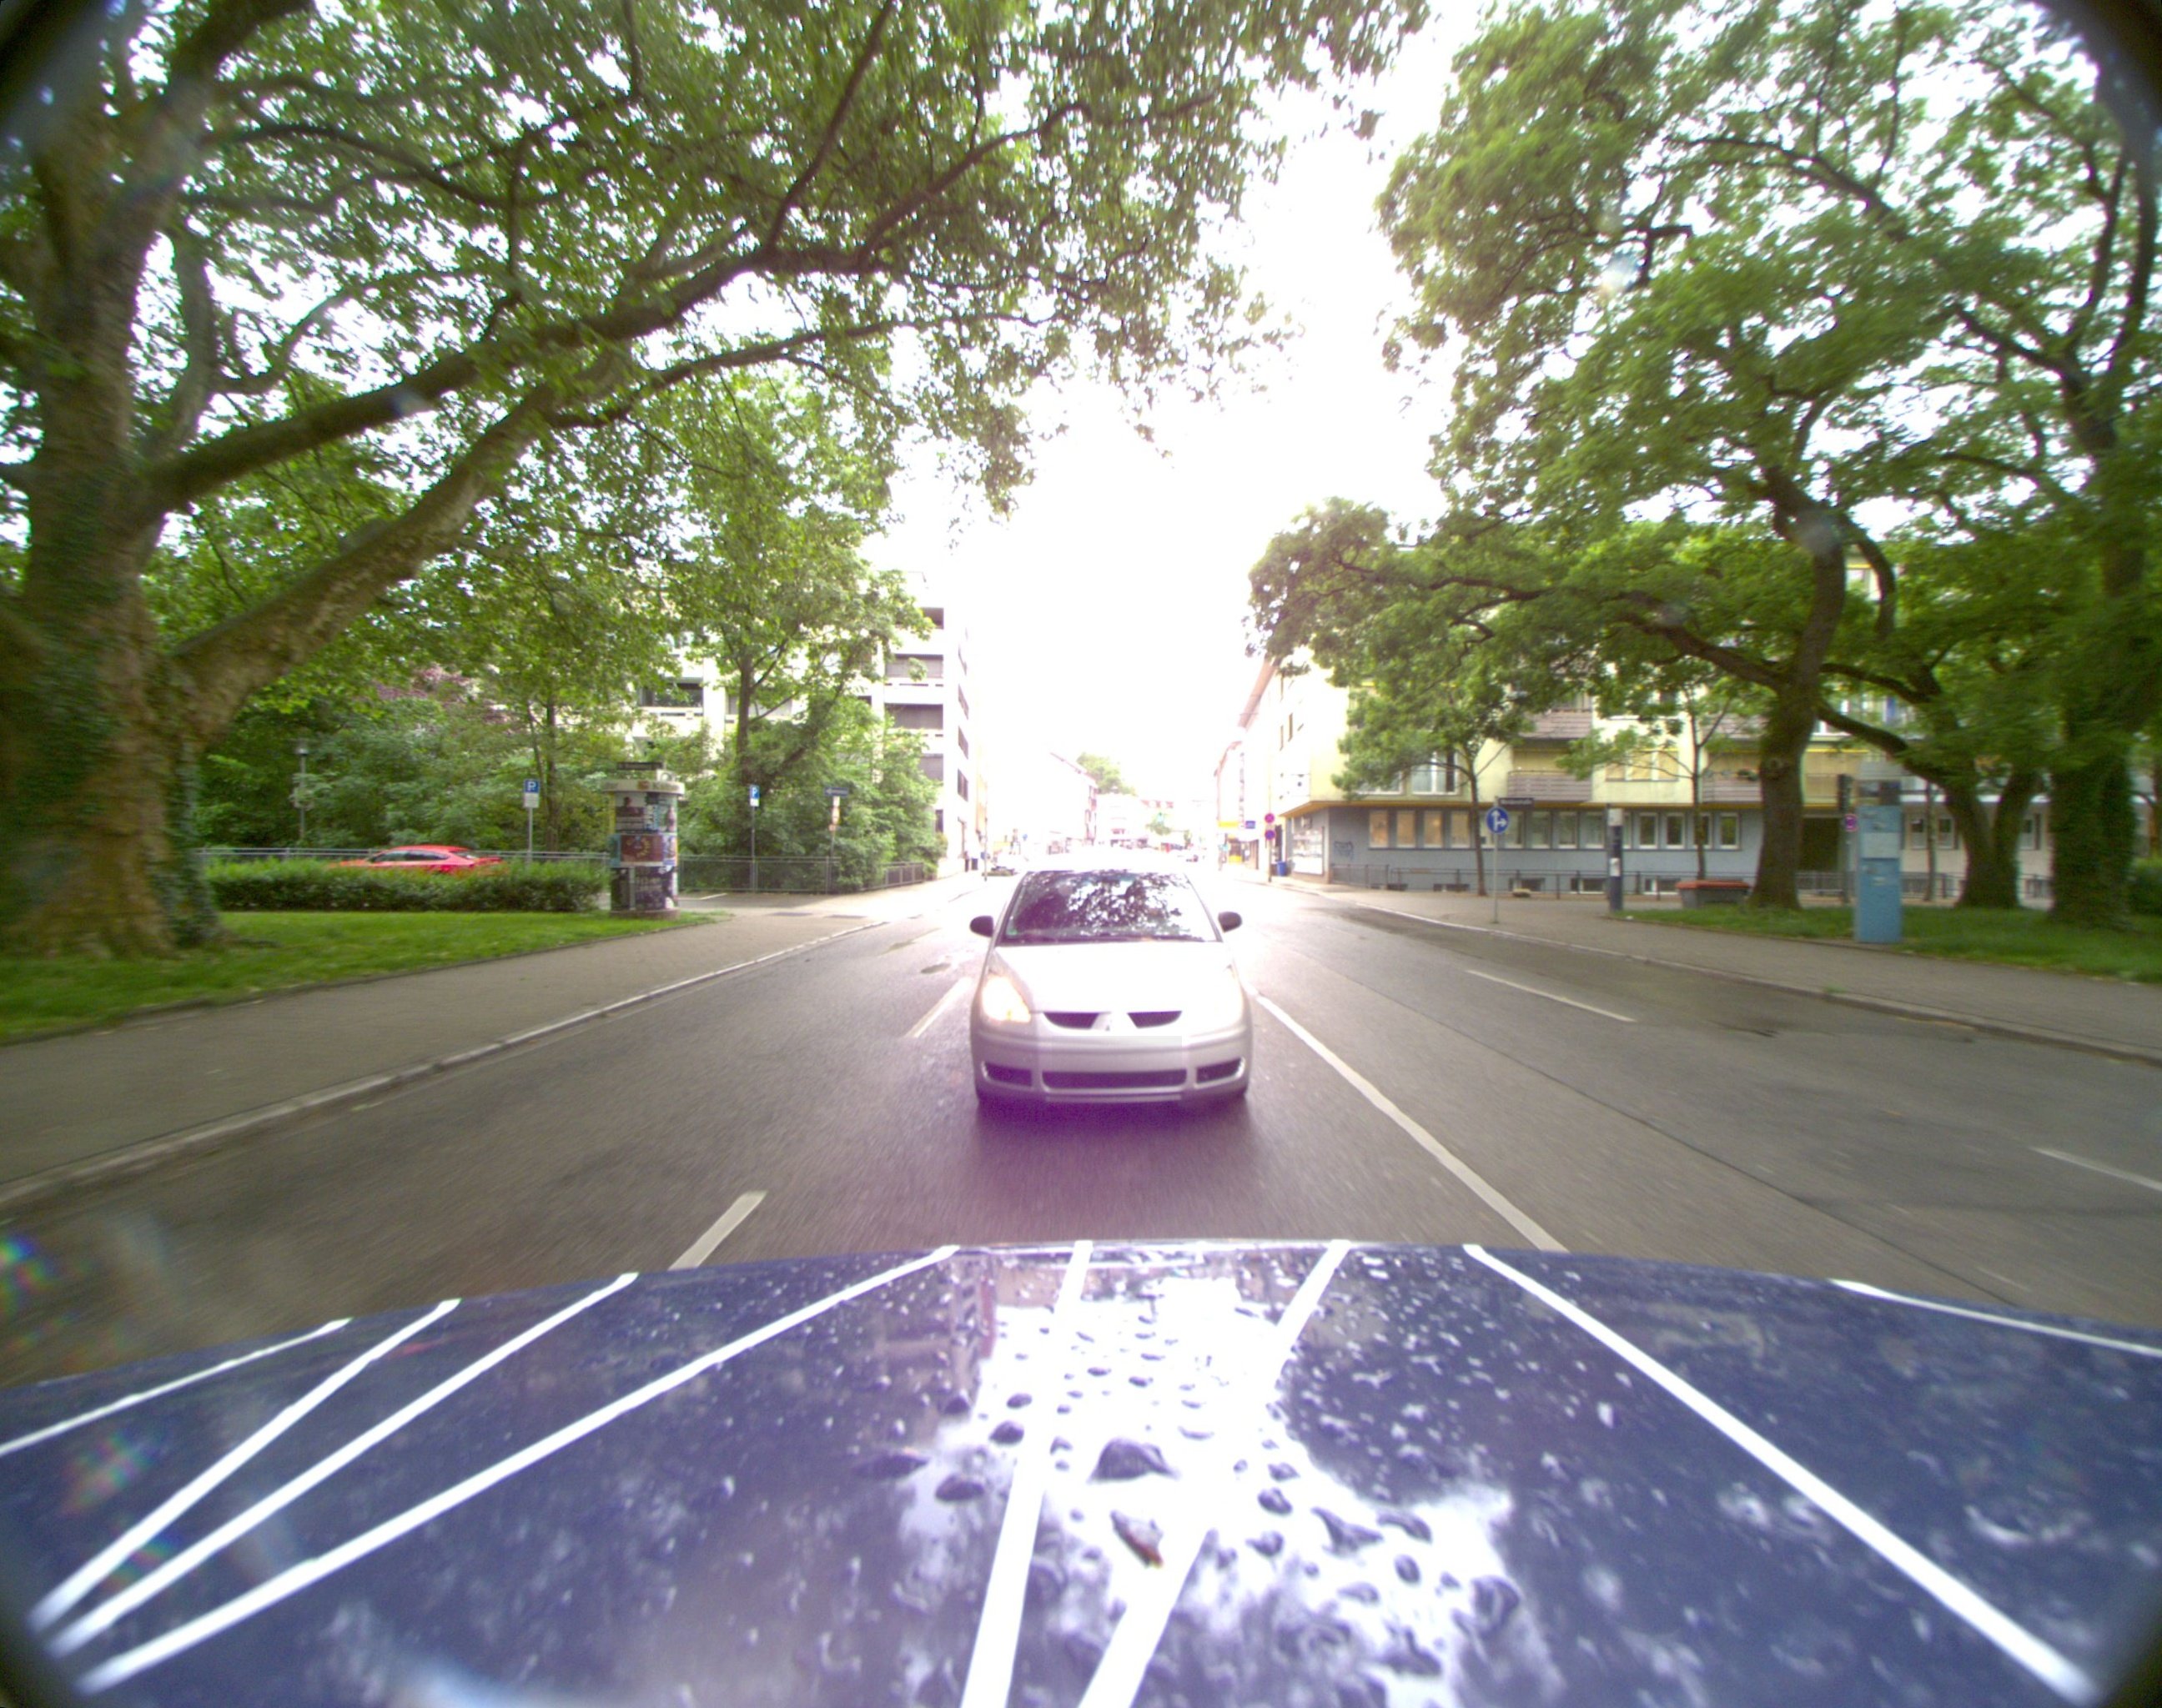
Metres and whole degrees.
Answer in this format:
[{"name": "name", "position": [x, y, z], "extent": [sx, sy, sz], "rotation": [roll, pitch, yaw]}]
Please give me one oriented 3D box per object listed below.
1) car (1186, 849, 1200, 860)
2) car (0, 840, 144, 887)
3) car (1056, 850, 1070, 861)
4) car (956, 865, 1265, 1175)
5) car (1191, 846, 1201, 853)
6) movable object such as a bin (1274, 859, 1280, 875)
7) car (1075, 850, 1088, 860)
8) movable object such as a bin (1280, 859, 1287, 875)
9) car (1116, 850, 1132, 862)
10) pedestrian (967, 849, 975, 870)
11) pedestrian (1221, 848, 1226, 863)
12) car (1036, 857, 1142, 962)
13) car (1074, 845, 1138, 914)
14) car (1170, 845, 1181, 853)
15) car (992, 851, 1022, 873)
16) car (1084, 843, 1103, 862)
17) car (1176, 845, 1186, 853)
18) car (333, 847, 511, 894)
[{"name": "car", "position": [18.007, 0.060, 122.296], "extent": [1.889, 1.707, 4.001], "rotation": [1, 0, 4]}, {"name": "car", "position": [-29.728, 0.254, 21.886], "extent": [3.468, 1.271, 1.448], "rotation": [1, 1, -5]}, {"name": "car", "position": [-2.497, 0.146, 105.251], "extent": [1.802, 1.434, 3.896], "rotation": [1, 0, 0]}, {"name": "car", "position": [0.179, 0.890, 5.574], "extent": [1.576, 1.514, 3.240], "rotation": [-1, 1, 1]}, {"name": "car", "position": [25.275, -0.958, 167.024], "extent": [1.867, 1.648, 4.001], "rotation": [1, 0, 4]}, {"name": "movable object such as a bin", "position": [12.705, 0.868, 49.338], "extent": [0.338, 1.023, 0.353], "rotation": [1, 1, 8]}, {"name": "car", "position": [0.079, 0.094, 110.437], "extent": [1.802, 1.434, 3.897], "rotation": [1, 0, 1]}, {"name": "movable object such as a bin", "position": [13.117, 0.848, 49.234], "extent": [0.415, 1.023, 0.353], "rotation": [1, 1, 8]}, {"name": "car", "position": [5.085, 0.224, 89.542], "extent": [1.701, 1.434, 3.897], "rotation": [1, 0, 1]}, {"name": "pedestrian", "position": [-8.028, 0.404, 55.517], "extent": [0.480, 1.521, 0.481], "rotation": [-2, 1, 1]}, {"name": "pedestrian", "position": [17.534, 0.204, 93.636], "extent": [0.594, 1.833, 0.565], "rotation": [1, 1, 8]}, {"name": "car", "position": [0.196, 0.846, 13.467], "extent": [1.590, 1.540, 3.771], "rotation": [1, 0, 2]}, {"name": "car", "position": [0.628, 0.629, 20.902], "extent": [1.584, 1.705, 3.648], "rotation": [1, 1, 0]}, {"name": "car", "position": [20.295, -1.006, 163.130], "extent": [1.998, 1.631, 4.001], "rotation": [1, 0, 4]}, {"name": "car", "position": [-5.270, 0.572, 54.372], "extent": [1.681, 1.424, 3.681], "rotation": [3, 0, 1]}, {"name": "car", "position": [1.356, -0.186, 81.993], "extent": [1.935, 1.817, 3.999], "rotation": [-2, 1, 0]}, {"name": "car", "position": [22.143, -1.125, 168.386], "extent": [1.998, 1.841, 4.001], "rotation": [1, 0, 4]}, {"name": "car", "position": [-19.422, 0.458, 22.514], "extent": [3.790, 1.271, 1.576], "rotation": [1, 1, -3]}]
